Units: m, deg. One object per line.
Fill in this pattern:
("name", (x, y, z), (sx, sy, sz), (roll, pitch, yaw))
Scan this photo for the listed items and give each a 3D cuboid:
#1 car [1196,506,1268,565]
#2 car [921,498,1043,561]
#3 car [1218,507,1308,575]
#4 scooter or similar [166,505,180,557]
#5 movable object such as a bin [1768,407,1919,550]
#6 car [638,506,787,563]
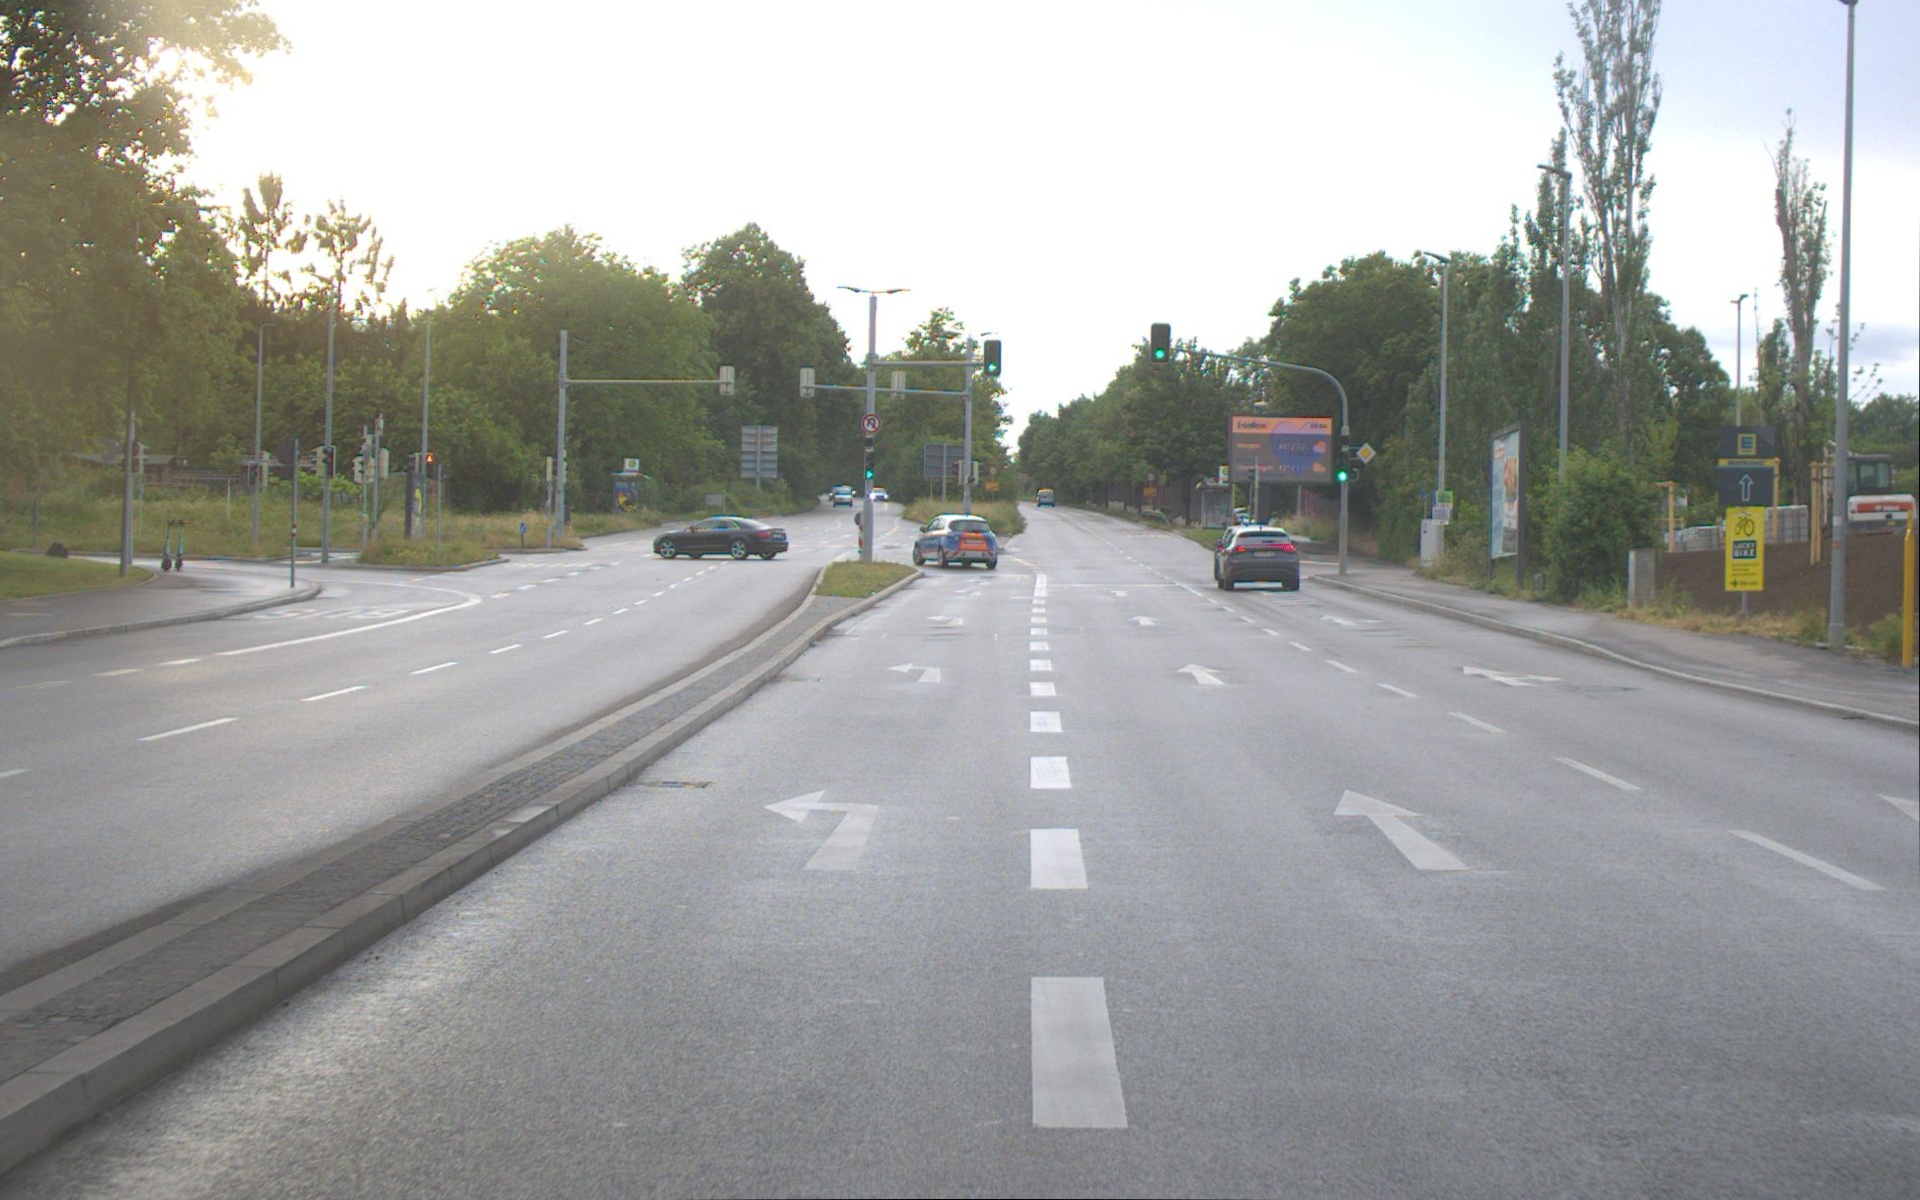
("car", (7.266, -1.743, 92.006), (1.745, 1.465, 4.166), (2, 2, 3))
("car", (0.628, -2.077, 100.774), (2.075, 1.712, 4.199), (3, 0, -22))
("car", (7.062, -1.400, 80.457), (1.745, 1.465, 4.166), (1, 2, 1))
("scooter or similar", (-18.937, -1.661, 82.687), (0.311, 1.214, 1.308), (1, 2, -13))
("movable object such as a bin", (21.345, -2.892, 81.884), (2.301, 3.264, 5.426), (1, 2, -6))
("car", (-7.917, -2.095, 110.165), (4.648, 1.577, 2.173), (3, 0, -4))
